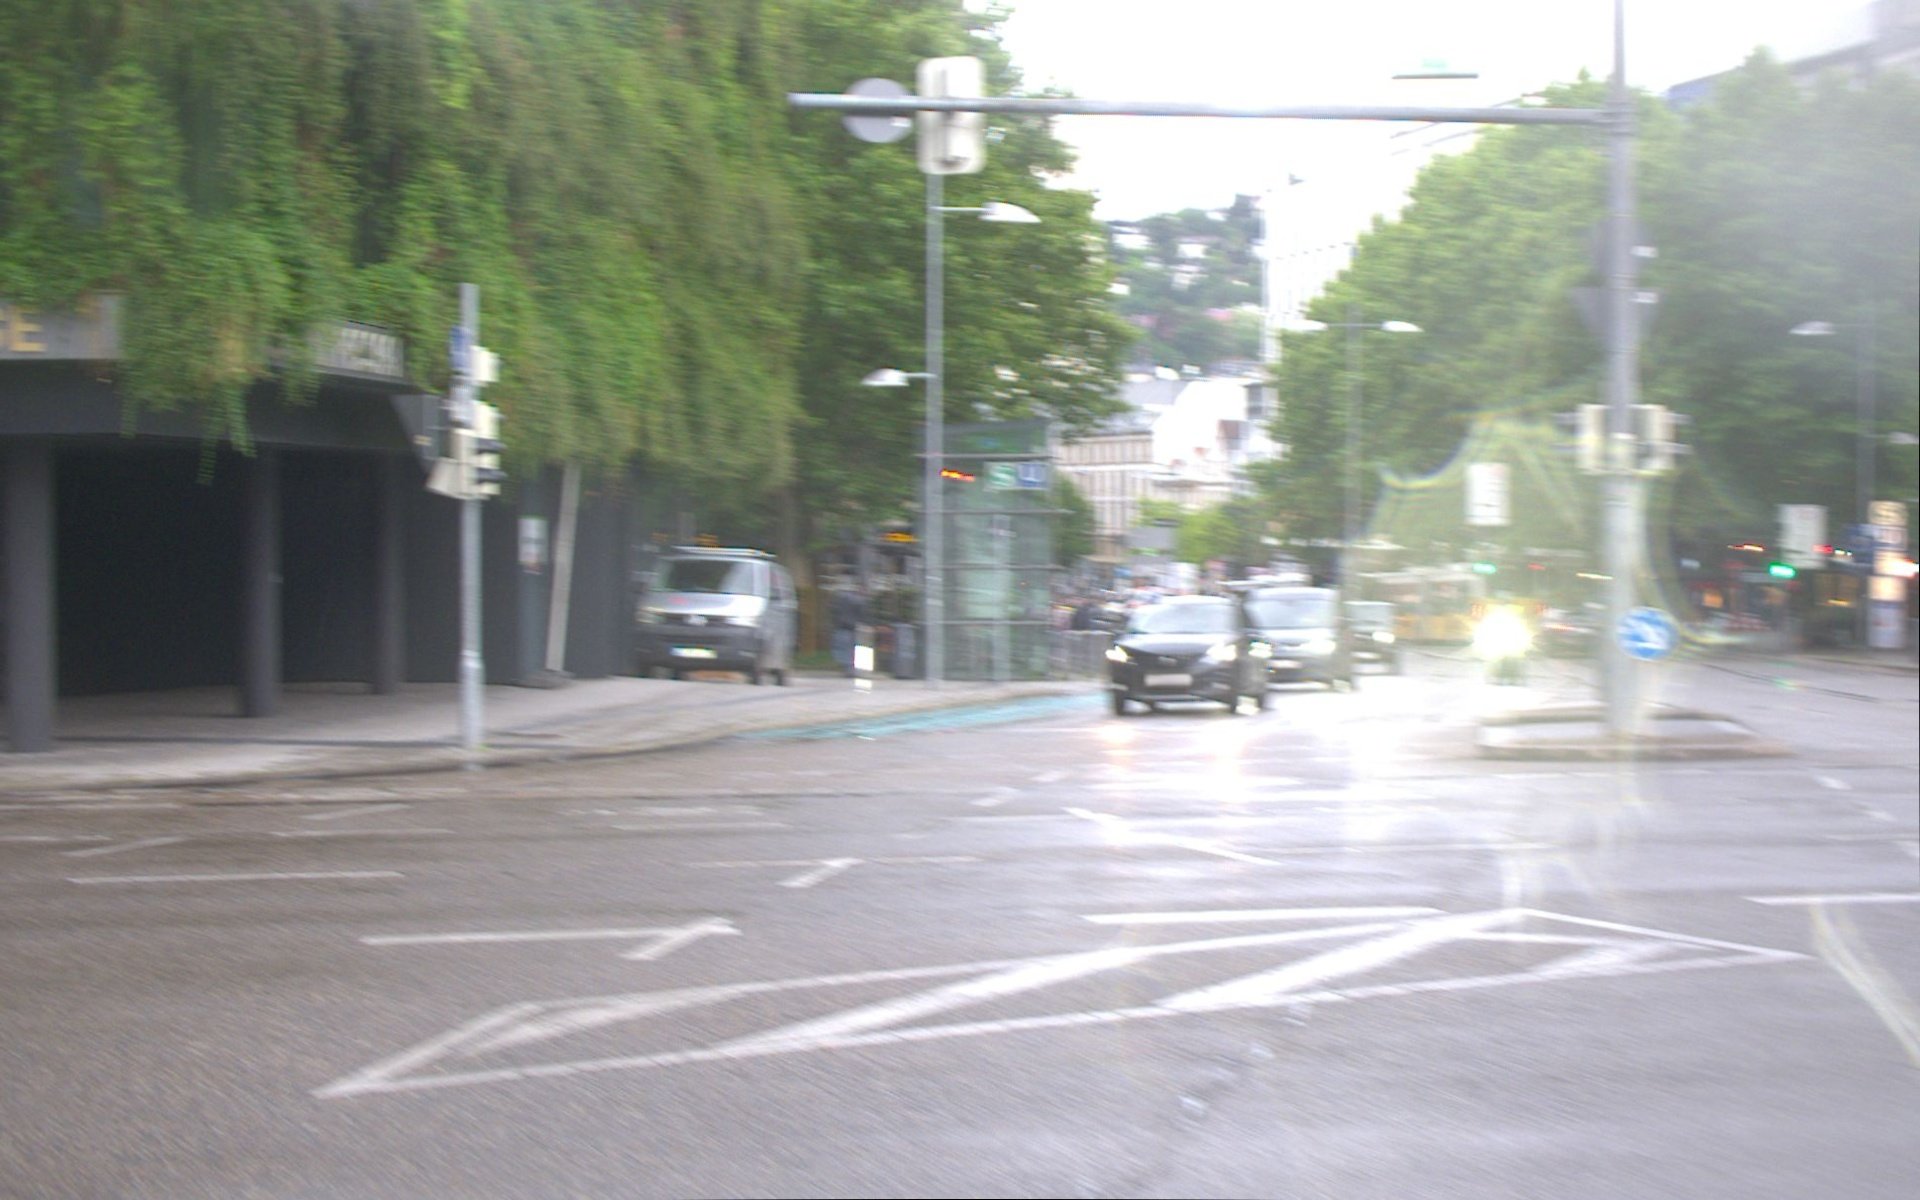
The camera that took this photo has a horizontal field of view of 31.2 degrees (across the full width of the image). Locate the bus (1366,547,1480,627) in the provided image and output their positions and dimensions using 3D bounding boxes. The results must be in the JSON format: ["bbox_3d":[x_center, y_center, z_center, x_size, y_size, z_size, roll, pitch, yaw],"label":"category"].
[{"bbox_3d":[17.958,-0.533,133.694,2.627,2.985,7.450,-1,1,-6],"label":"bus"}]

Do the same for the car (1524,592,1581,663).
[{"bbox_3d":[17.136,0.772,99.470,1.544,2.007,4.666,0,0,9],"label":"car"}]

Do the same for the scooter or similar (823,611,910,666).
[{"bbox_3d":[-1.775,0.733,65.483,1.656,1.001,0.624,-1,1,-43],"label":"scooter or similar"}]

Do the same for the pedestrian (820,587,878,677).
[{"bbox_3d":[-2.036,0.586,63.327,0.934,1.638,0.774,0,0,9],"label":"pedestrian"}]

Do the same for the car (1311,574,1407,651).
[{"bbox_3d":[9.367,0.285,80.921,2.164,1.759,5.110,0,0,6],"label":"car"}]

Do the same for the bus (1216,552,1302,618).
[{"bbox_3d":[14.046,-0.734,161.948,2.627,2.985,7.450,-1,1,-6],"label":"bus"}]

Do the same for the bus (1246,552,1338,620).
[{"bbox_3d":[14.880,-0.649,154.618,2.627,2.985,7.329,-1,1,-6],"label":"bus"}]

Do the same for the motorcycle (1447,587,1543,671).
[{"bbox_3d":[9.942,0.527,64.042,1.552,1.509,4.383,0,0,6],"label":"motorcycle"}]

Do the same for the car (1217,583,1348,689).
[{"bbox_3d":[5.626,0.601,59.629,2.164,1.759,5.110,0,0,6],"label":"car"}]

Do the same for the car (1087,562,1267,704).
[{"bbox_3d":[2.928,0.414,45.399,2.164,1.759,5.110,0,0,6],"label":"car"}]

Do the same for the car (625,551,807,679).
[{"bbox_3d":[-3.597,0.218,51.384,1.871,1.833,3.998,0,0,9],"label":"car"}]

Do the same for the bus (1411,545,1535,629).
[{"bbox_3d":[18.782,-0.492,126.315,2.627,2.985,7.450,-1,1,-6],"label":"bus"}]
